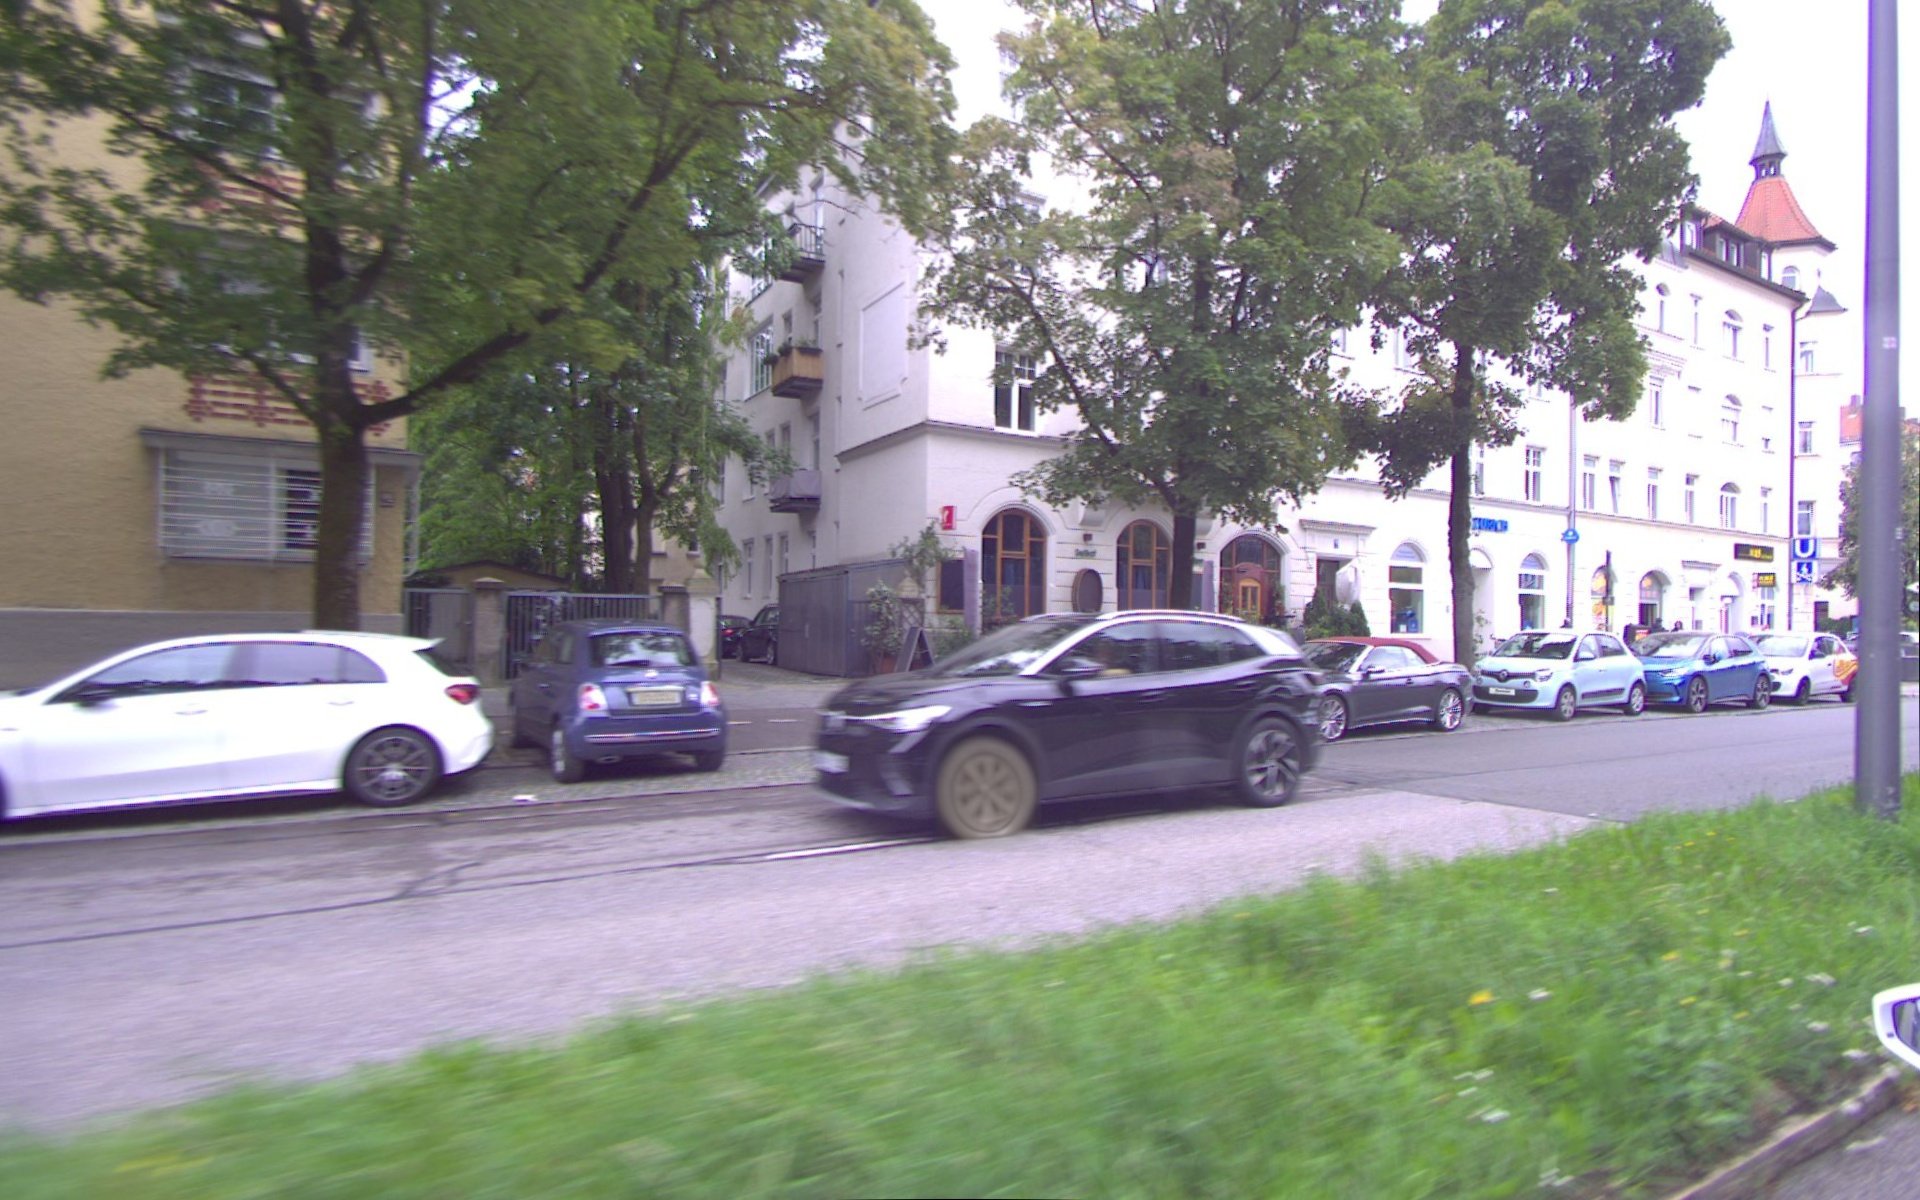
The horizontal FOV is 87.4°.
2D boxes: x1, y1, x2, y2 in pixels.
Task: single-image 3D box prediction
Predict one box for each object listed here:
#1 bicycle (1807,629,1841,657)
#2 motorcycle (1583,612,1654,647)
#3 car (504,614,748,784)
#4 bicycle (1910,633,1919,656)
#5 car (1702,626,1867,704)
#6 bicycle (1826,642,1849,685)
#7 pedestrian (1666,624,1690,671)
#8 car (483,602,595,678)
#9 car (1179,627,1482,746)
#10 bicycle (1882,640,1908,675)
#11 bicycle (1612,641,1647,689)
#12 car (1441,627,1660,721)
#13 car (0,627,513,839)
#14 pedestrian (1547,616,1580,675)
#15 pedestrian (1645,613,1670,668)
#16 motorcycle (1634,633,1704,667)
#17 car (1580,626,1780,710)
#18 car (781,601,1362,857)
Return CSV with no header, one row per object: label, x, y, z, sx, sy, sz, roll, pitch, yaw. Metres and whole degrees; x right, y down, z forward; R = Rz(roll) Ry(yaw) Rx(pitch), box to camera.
bicycle,31.752,1.587,36.907,1.527,0.993,0.470,1,-1,-30
motorcycle,22.897,1.036,34.947,1.947,1.145,0.610,1,-1,10
car,-3.796,0.911,10.982,1.713,1.483,3.869,1,-1,-31
bicycle,55.747,2.599,56.866,2.664,1.267,0.792,2,1,30
car,18.825,1.437,22.918,3.743,1.606,1.642,1,-1,-29
bicycle,24.746,1.772,28.344,0.325,1.130,1.675,0,-1,36
pedestrian,25.392,1.673,35.527,0.775,1.653,0.419,1,-1,-33
car,-9.384,0.837,22.235,1.738,1.530,3.869,1,-1,-31
car,5.643,1.207,15.147,4.591,1.527,1.802,1,-1,-31
bicycle,30.596,1.867,32.855,1.798,1.130,0.392,1,-1,-39
bicycle,16.980,1.623,25.512,0.539,1.130,1.878,0,-1,28
car,10.850,1.290,18.419,3.914,1.527,1.802,1,-1,-31
car,-6.079,0.949,8.118,4.352,1.421,1.718,1,-1,-31
pedestrian,17.777,1.335,29.579,0.762,1.719,0.540,1,-1,-32
pedestrian,22.484,1.290,32.383,0.583,1.719,0.943,0,-1,32
motorcycle,25.278,1.781,35.841,1.947,1.137,0.610,1,-1,10
car,14.815,1.341,20.621,4.241,1.527,1.802,1,-1,-31
car,1.014,0.898,8.282,4.566,1.605,1.867,1,-3,-30
